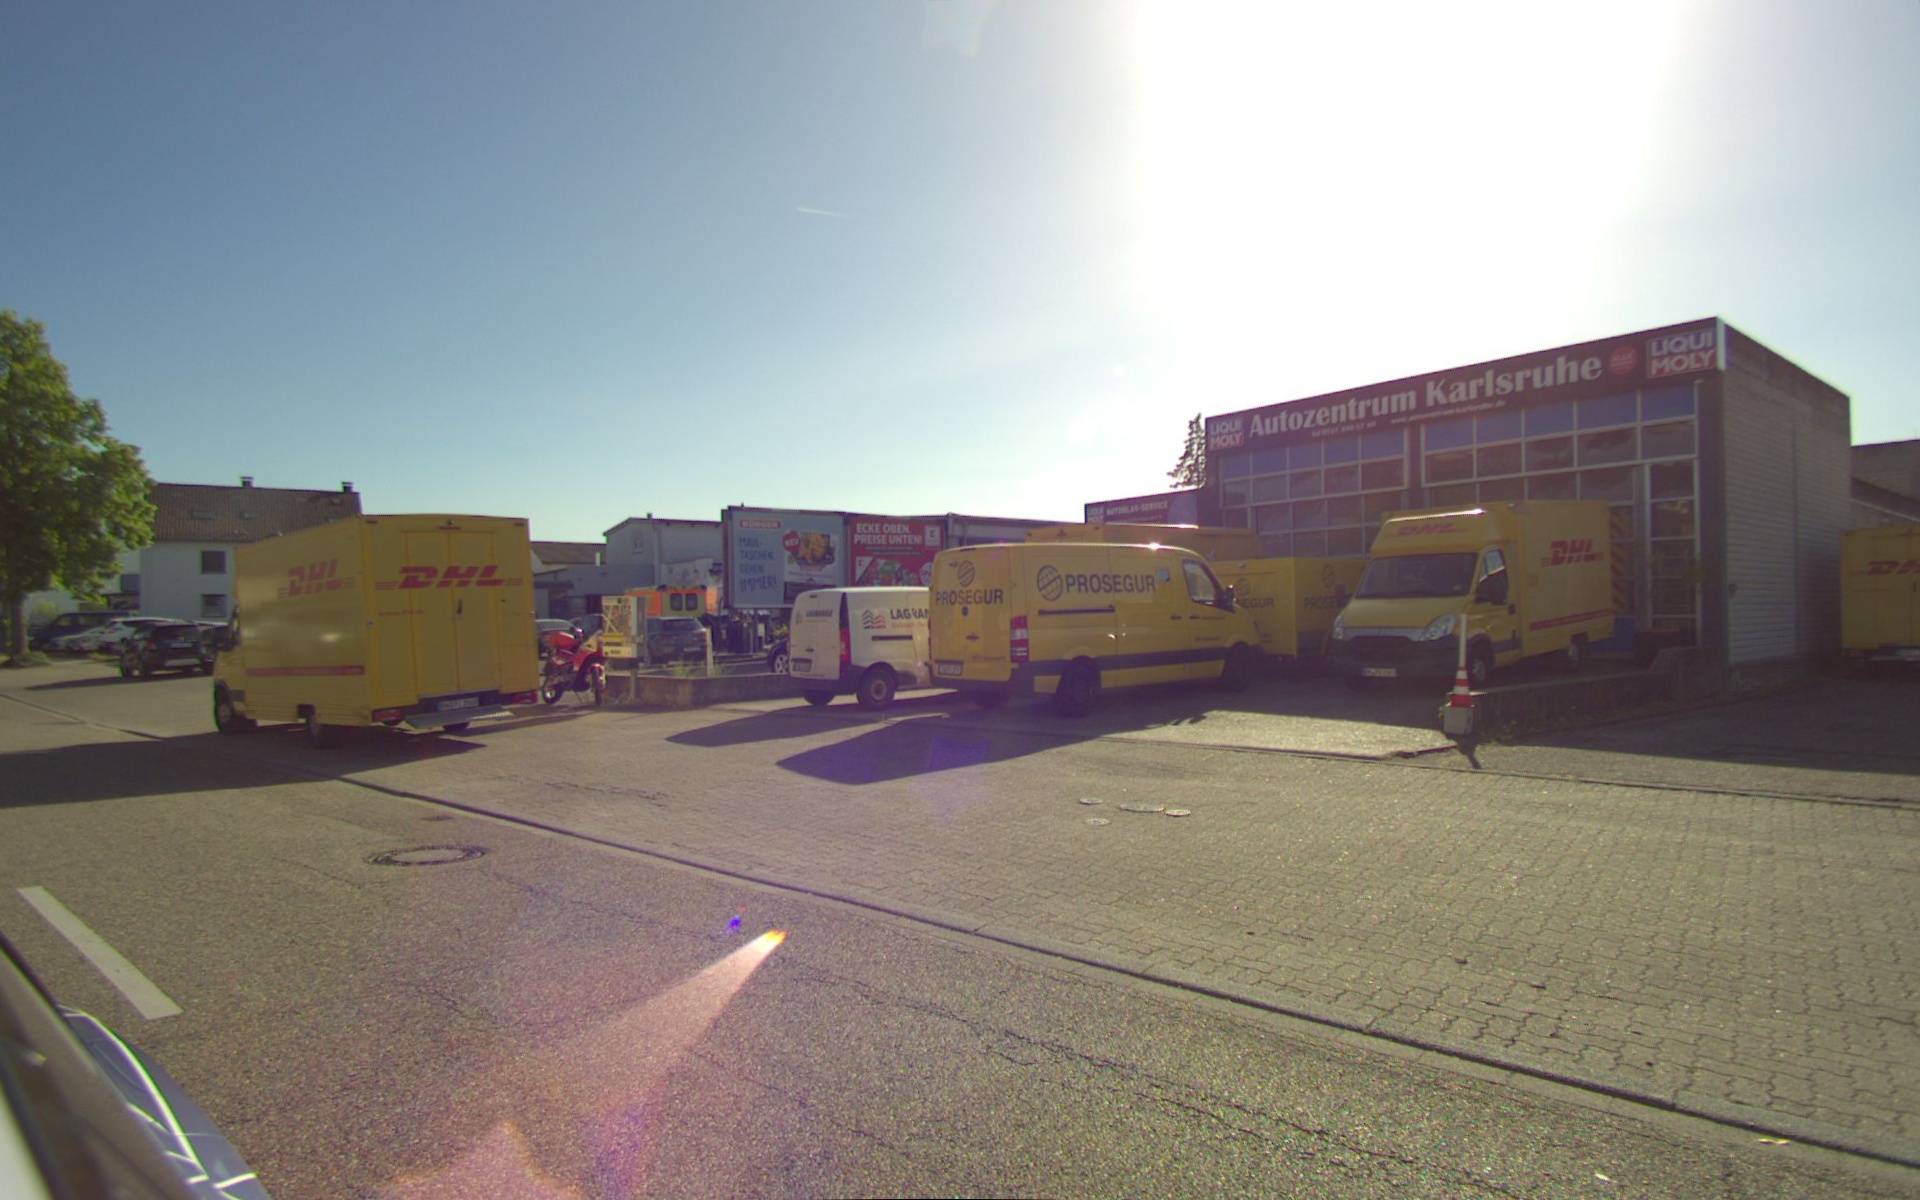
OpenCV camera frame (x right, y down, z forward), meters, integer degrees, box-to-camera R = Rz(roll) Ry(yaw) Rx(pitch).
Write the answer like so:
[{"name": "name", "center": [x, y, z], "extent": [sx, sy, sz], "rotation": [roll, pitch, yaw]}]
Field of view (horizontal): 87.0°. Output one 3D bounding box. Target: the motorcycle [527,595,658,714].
[{"name": "motorcycle", "center": [-6.446, 0.935, 17.628], "extent": [3.041, 1.887, 0.772], "rotation": [-3, 1, 44]}]

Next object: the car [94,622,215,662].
[{"name": "car", "center": [-37.870, 1.938, 47.651], "extent": [1.764, 1.742, 4.206], "rotation": [-2, -2, 40]}]

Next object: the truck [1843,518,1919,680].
[{"name": "truck", "center": [19.440, -0.028, 19.851], "extent": [4.643, 2.959, 2.417], "rotation": [0, -1, -40]}]

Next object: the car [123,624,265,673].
[{"name": "car", "center": [-29.471, 1.812, 39.022], "extent": [4.200, 1.742, 1.767], "rotation": [0, -2, -45]}]

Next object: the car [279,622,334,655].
[{"name": "car", "center": [-33.820, 1.982, 52.307], "extent": [1.645, 1.631, 4.003], "rotation": [0, -1, -44]}]

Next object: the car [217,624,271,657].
[{"name": "car", "center": [-36.174, 2.028, 51.095], "extent": [1.645, 1.528, 4.003], "rotation": [0, -1, -44]}]

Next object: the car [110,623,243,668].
[{"name": "car", "center": [-32.656, 1.869, 42.245], "extent": [4.200, 1.742, 1.767], "rotation": [0, -2, -45]}]

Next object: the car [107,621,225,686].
[{"name": "car", "center": [-24.138, 1.586, 30.714], "extent": [4.272, 1.727, 1.843], "rotation": [-2, 1, 39]}]

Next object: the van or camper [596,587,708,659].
[{"name": "van or camper", "center": [-12.837, 0.952, 41.867], "extent": [2.137, 2.736, 6.280], "rotation": [0, -1, -40]}]

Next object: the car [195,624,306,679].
[{"name": "car", "center": [-22.860, 1.621, 32.567], "extent": [4.272, 1.602, 1.843], "rotation": [-2, -1, 39]}]

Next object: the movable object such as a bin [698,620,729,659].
[{"name": "movable object such as a bin", "center": [-9.636, 1.539, 39.575], "extent": [0.721, 1.500, 1.048], "rotation": [0, -2, -43]}]

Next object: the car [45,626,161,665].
[{"name": "car", "center": [-42.224, 2.213, 49.943], "extent": [1.766, 1.766, 4.202], "rotation": [-2, -2, 43]}]

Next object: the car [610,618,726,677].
[{"name": "car", "center": [-8.502, 1.388, 29.241], "extent": [1.753, 1.557, 4.305], "rotation": [0, -3, -38]}]

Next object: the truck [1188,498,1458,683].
[{"name": "truck", "center": [6.854, -0.125, 18.847], "extent": [5.265, 2.995, 2.177], "rotation": [0, -2, -38]}]

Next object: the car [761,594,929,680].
[{"name": "car", "center": [-2.809, 0.842, 24.218], "extent": [1.970, 1.829, 4.004], "rotation": [-2, 0, -43]}]

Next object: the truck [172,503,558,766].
[{"name": "truck", "center": [-8.944, 0.455, 14.791], "extent": [7.236, 3.005, 2.380], "rotation": [-2, 0, 39]}]

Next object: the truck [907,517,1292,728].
[{"name": "truck", "center": [2.268, 0.217, 15.123], "extent": [5.846, 2.587, 2.228], "rotation": [-2, 0, -39]}]

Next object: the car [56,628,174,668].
[{"name": "car", "center": [-40.102, 2.251, 48.097], "extent": [4.200, 1.742, 1.767], "rotation": [0, -2, -45]}]

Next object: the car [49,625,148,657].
[{"name": "car", "center": [-45.188, 2.131, 53.118], "extent": [1.546, 1.553, 3.767], "rotation": [-2, -1, 40]}]

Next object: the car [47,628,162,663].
[{"name": "car", "center": [-43.612, 2.306, 51.668], "extent": [1.763, 1.597, 4.208], "rotation": [-3, -1, 38]}]

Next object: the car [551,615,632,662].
[{"name": "car", "center": [-14.680, 1.558, 40.207], "extent": [1.754, 1.762, 4.171], "rotation": [0, -3, -39]}]

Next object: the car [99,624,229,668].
[{"name": "car", "center": [-34.462, 1.960, 43.885], "extent": [1.765, 1.742, 4.204], "rotation": [-2, -2, 41]}]

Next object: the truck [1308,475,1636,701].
[{"name": "truck", "center": [8.290, -0.228, 16.087], "extent": [6.013, 2.995, 2.177], "rotation": [-2, 0, -38]}]

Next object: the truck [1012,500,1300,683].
[{"name": "truck", "center": [4.014, -0.197, 20.127], "extent": [5.597, 3.143, 2.527], "rotation": [-2, 0, -39]}]

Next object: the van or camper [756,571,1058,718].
[{"name": "van or camper", "center": [-0.749, 0.646, 16.334], "extent": [4.490, 2.029, 2.253], "rotation": [0, -2, -44]}]

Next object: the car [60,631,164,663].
[{"name": "car", "center": [-46.247, 2.548, 55.248], "extent": [4.200, 1.553, 1.767], "rotation": [-1, -1, -45]}]

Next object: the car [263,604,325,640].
[{"name": "car", "center": [-30.472, 1.022, 46.272], "extent": [1.645, 1.528, 4.003], "rotation": [0, -1, -44]}]

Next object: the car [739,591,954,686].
[{"name": "car", "center": [-2.379, 0.816, 20.587], "extent": [4.207, 1.574, 1.847], "rotation": [-7, -4, 38]}]

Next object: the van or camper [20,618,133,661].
[{"name": "van or camper", "center": [-51.271, 2.248, 58.869], "extent": [4.830, 2.338, 2.248], "rotation": [-1, 0, -39]}]
